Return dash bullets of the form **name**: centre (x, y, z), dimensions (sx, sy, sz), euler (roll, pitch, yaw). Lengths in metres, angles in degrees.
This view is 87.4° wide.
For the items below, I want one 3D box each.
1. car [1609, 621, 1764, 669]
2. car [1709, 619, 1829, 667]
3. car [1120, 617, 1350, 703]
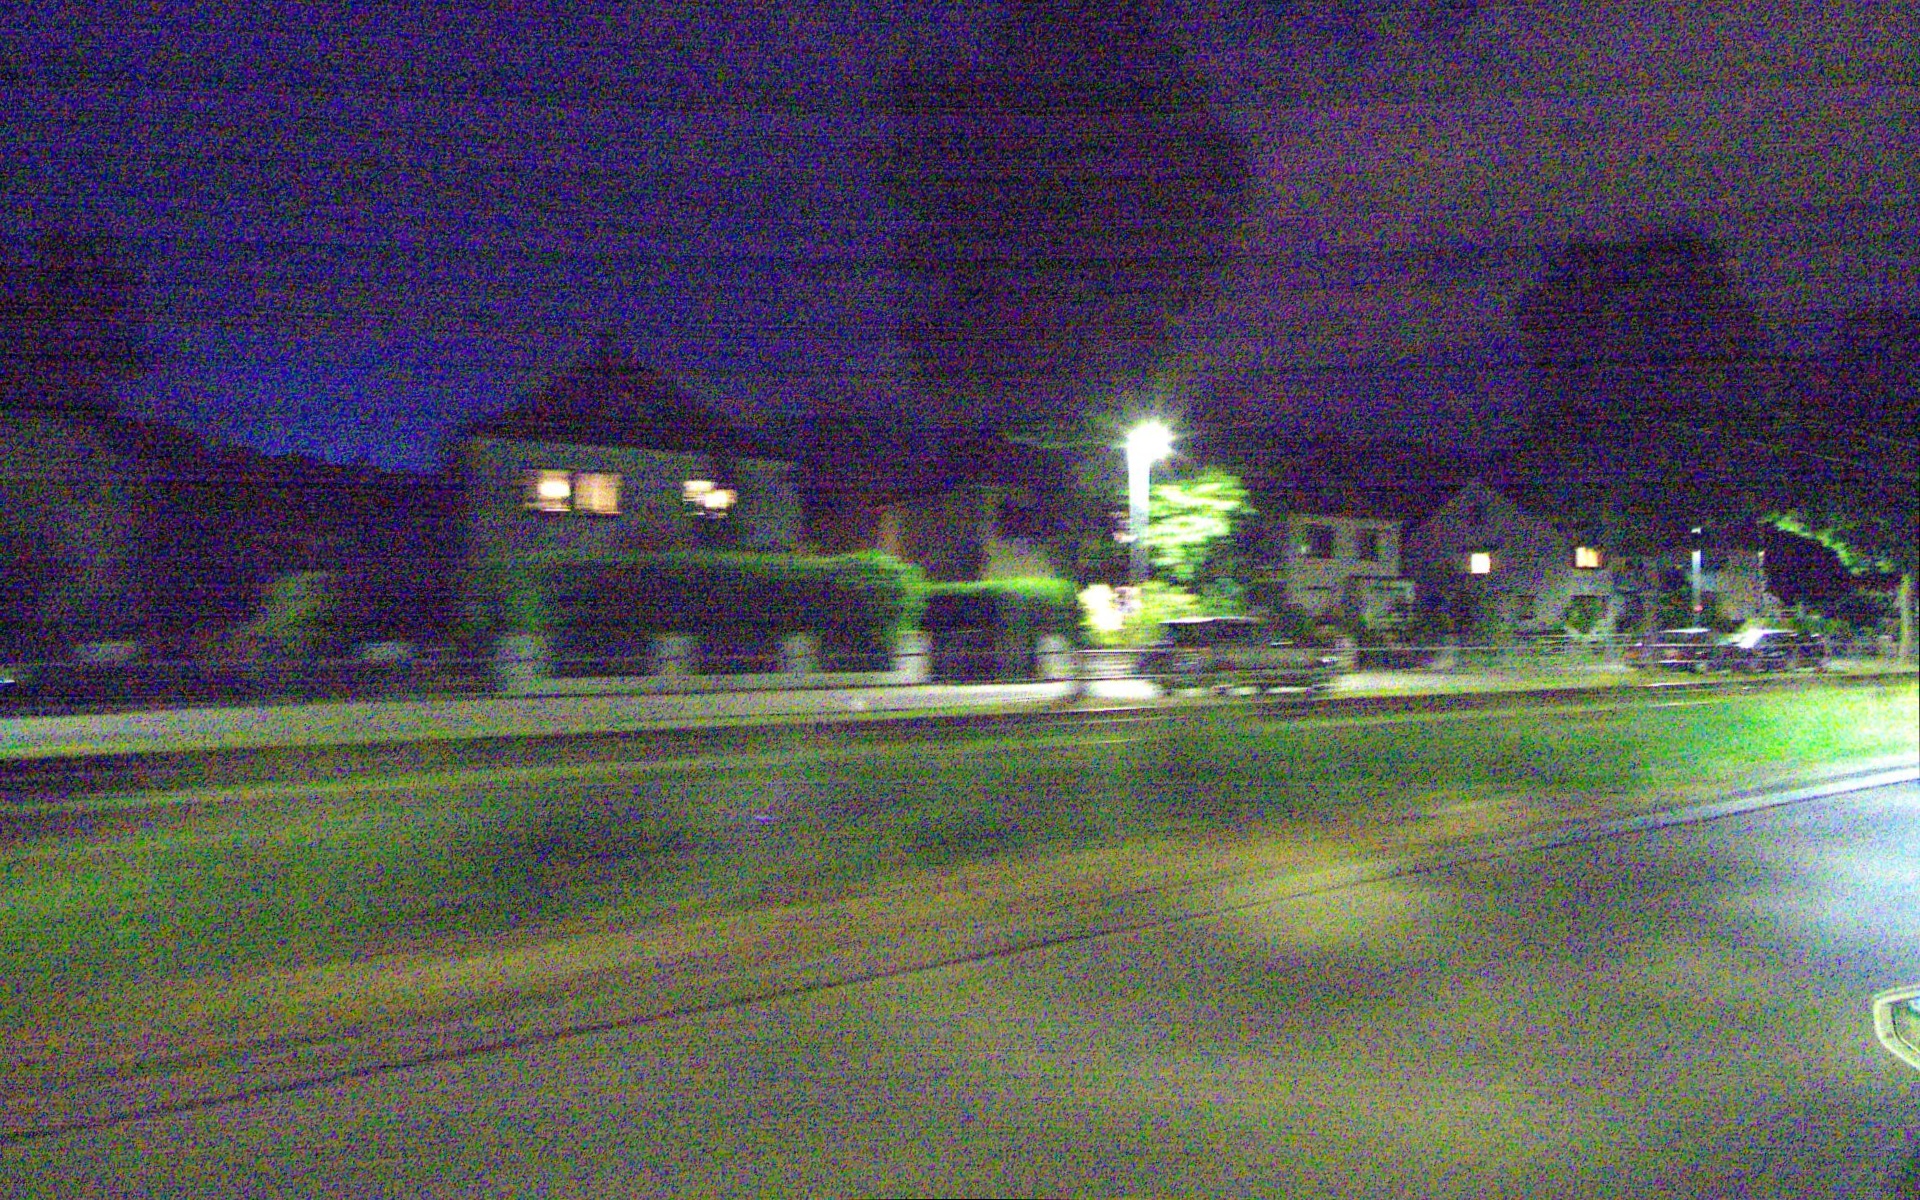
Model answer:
- **car**: centre (22.340, 1.354, 30.840), dimensions (5.370, 1.356, 1.983), euler (1, -1, -32)
- **car**: centre (27.493, 1.411, 34.111), dimensions (3.955, 1.550, 1.983), euler (1, -1, -31)
- **car**: centre (5.838, 1.209, 21.224), dimensions (4.619, 1.649, 1.985), euler (1, -1, -28)
